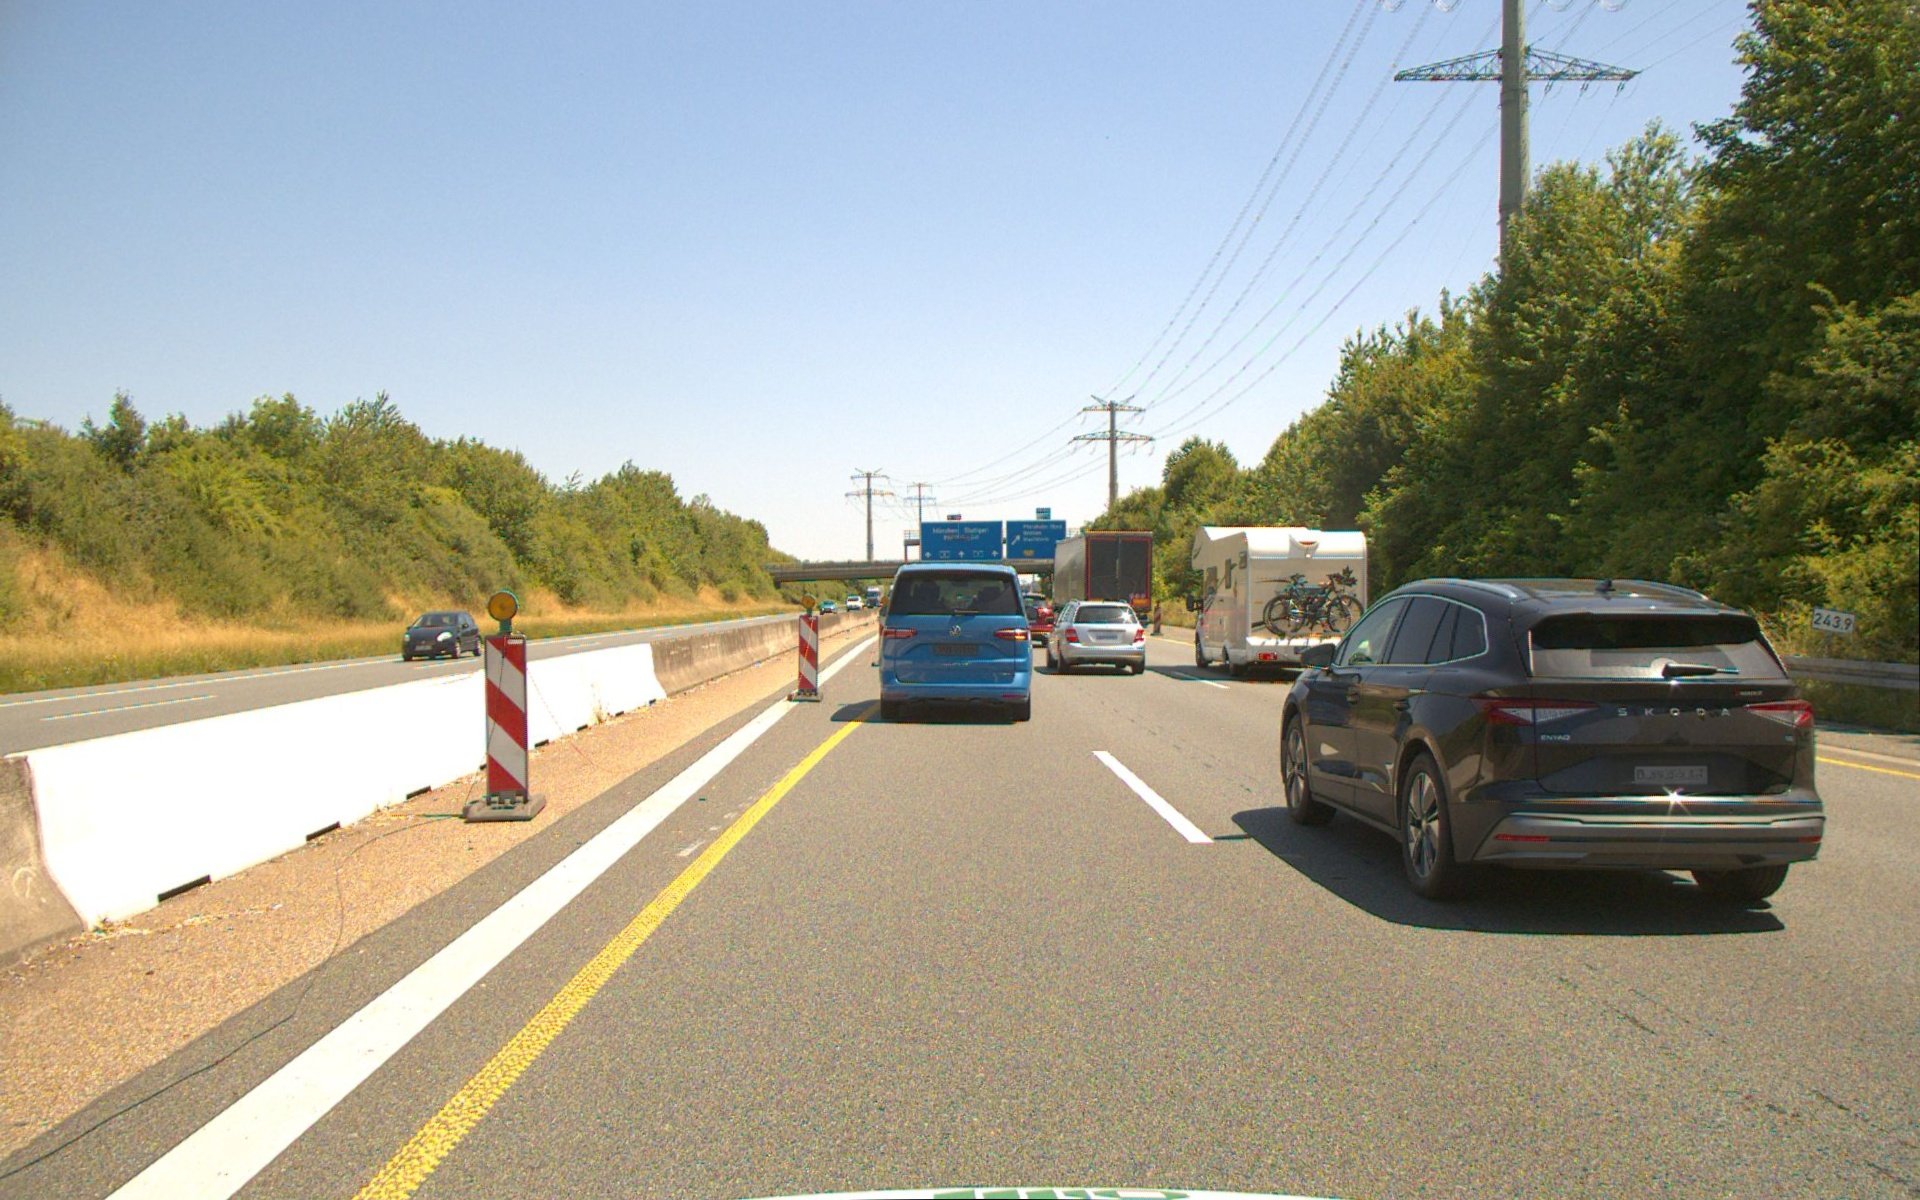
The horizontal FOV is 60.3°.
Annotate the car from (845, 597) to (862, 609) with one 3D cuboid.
[{"bbox_3d":[-13.852,0.376,214.959,1.953,1.422,4.000,-2,0,0],"label":"car"}]

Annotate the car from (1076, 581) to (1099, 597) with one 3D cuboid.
[{"bbox_3d":[13.243,-1.140,172.335,1.837,1.700,4.358,1,0,-2],"label":"car"}]

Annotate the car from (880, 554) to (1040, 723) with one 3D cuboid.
[{"bbox_3d":[-0.082,0.449,21.482,1.837,1.945,4.358,1,0,-2],"label":"car"}]

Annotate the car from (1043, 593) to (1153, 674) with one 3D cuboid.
[{"bbox_3d":[2.782,0.653,34.217,1.735,1.544,4.358,1,0,-2],"label":"car"}]

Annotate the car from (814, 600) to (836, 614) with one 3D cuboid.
[{"bbox_3d":[-14.246,0.747,174.713,1.953,1.422,4.000,-2,0,0],"label":"car"}]

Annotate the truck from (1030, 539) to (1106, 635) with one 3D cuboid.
[{"bbox_3d":[4.823,-0.549,74.806,2.679,4.118,5.789,1,0,-4],"label":"truck"}]

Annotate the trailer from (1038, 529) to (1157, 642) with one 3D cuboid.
[{"bbox_3d":[5.378,-0.539,67.253,2.728,4.118,13.100,1,0,-4],"label":"trailer"}]

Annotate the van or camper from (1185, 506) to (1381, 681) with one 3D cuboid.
[{"bbox_3d":[6.310,-0.119,33.479,2.321,3.096,7.631,1,0,-1],"label":"van or camper"}]

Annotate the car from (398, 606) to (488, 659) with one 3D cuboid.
[{"bbox_3d":[-15.984,0.971,51.328,1.674,1.490,3.848,-2,0,-2],"label":"car"}]

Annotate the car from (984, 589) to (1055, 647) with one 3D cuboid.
[{"bbox_3d":[1.801,0.542,51.339,1.837,1.700,4.358,1,0,-2],"label":"car"}]

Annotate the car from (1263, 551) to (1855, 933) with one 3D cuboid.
[{"bbox_3d":[3.094,0.639,9.611,1.667,1.684,4.427,1,0,-2],"label":"car"}]
